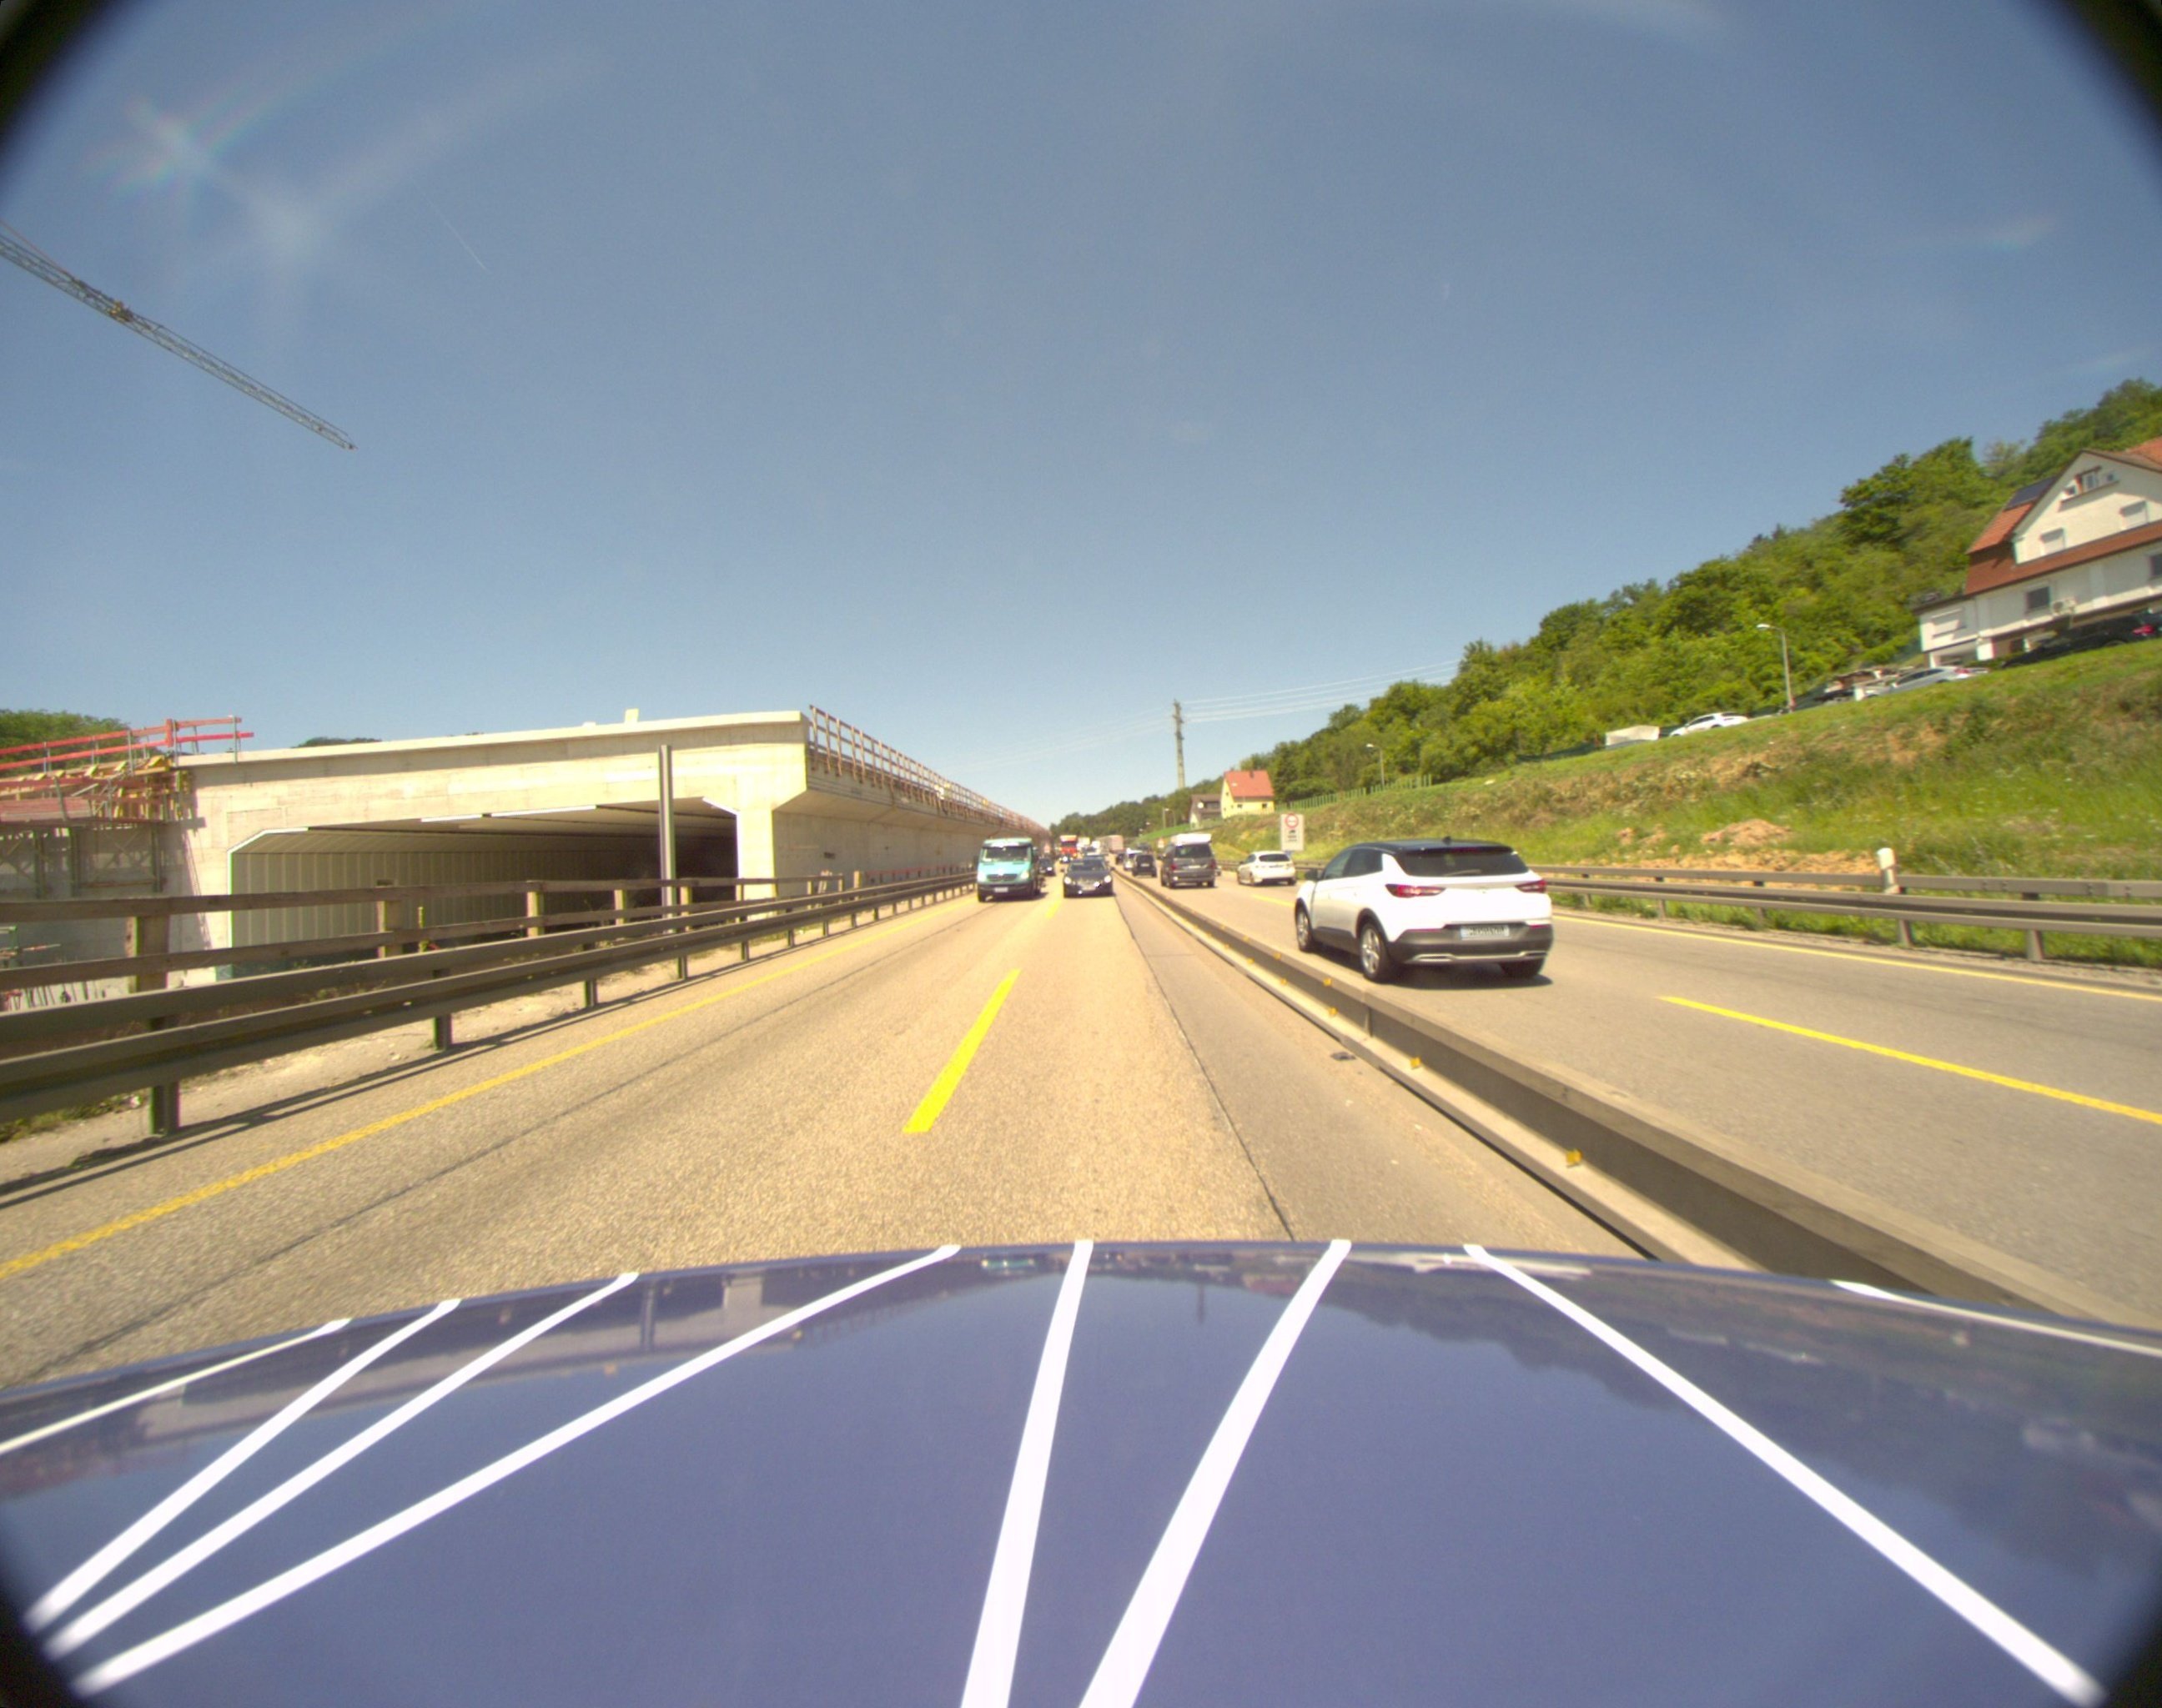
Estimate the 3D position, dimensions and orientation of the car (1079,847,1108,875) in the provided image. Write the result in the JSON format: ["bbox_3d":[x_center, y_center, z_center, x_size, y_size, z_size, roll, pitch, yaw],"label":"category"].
[{"bbox_3d":[0.938,0.443,53.832,1.884,1.805,4.250,-2,1,2],"label":"car"}]

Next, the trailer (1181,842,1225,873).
[{"bbox_3d":[8.058,0.230,50.504,2.106,1.883,5.141,-2,0,1],"label":"trailer"}]

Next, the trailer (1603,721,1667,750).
[{"bbox_3d":[37.441,-7.993,51.445,1.908,1.507,3.034,-2,2,-10],"label":"trailer"}]

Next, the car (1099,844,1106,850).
[{"bbox_3d":[5.271,-1.654,187.070,1.807,1.455,4.000,-2,1,1],"label":"car"}]

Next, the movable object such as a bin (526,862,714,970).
[{"bbox_3d":[-21.074,2.590,35.669,2.961,4.040,9.153,-2,1,0],"label":"movable object such as a bin"}]

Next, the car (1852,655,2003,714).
[{"bbox_3d":[39.665,-7.889,35.791,1.999,1.861,4.427,-2,1,-5],"label":"car"}]

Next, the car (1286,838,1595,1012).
[{"bbox_3d":[4.038,0.680,9.414,1.811,1.630,4.171,-2,0,0],"label":"car"}]

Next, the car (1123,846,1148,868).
[{"bbox_3d":[4.828,0.274,67.663,1.842,1.817,5.040,-2,0,0],"label":"car"}]

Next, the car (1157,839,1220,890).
[{"bbox_3d":[4.593,0.405,33.168,1.915,2.002,4.905,-2,0,-1],"label":"car"}]

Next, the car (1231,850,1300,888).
[{"bbox_3d":[7.767,0.568,32.416,1.814,1.423,4.555,-3,0,1],"label":"car"}]

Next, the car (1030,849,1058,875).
[{"bbox_3d":[-2.806,0.609,58.653,1.885,1.805,4.249,-2,1,0],"label":"car"}]

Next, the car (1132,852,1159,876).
[{"bbox_3d":[4.160,0.623,49.072,1.487,1.496,2.805,-2,0,1],"label":"car"}]

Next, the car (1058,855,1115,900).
[{"bbox_3d":[0.247,0.836,29.171,1.998,1.441,4.601,-2,1,1],"label":"car"}]

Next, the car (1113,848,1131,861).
[{"bbox_3d":[4.844,0.013,90.256,1.847,1.467,4.834,-2,0,0],"label":"car"}]

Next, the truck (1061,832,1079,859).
[{"bbox_3d":[-1.748,-1.467,124.892,2.750,4.222,9.093,-2,1,0],"label":"truck"}]

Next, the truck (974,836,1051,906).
[{"bbox_3d":[-2.513,0.501,29.910,2.139,2.344,7.431,-2,1,1],"label":"truck"}]

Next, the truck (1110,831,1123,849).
[{"bbox_3d":[8.674,-3.416,187.427,2.627,4.371,10.383,-2,1,1],"label":"truck"}]

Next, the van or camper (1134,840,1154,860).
[{"bbox_3d":[8.871,-0.571,107.538,2.145,2.558,6.564,-2,0,1],"label":"van or camper"}]

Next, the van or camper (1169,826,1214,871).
[{"bbox_3d":[8.079,-0.415,56.444,2.297,3.048,6.923,-2,0,1],"label":"van or camper"}]

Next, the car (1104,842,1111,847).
[{"bbox_3d":[8.410,-2.974,239.488,1.998,1.499,5.299,-2,1,1],"label":"car"}]

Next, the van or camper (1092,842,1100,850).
[{"bbox_3d":[5.198,-2.883,264.368,2.356,2.619,6.901,-2,1,1],"label":"van or camper"}]

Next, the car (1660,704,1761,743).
[{"bbox_3d":[38.197,-7.898,46.257,2.000,1.646,4.548,-2,1,-9],"label":"car"}]

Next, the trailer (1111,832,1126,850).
[{"bbox_3d":[8.696,-3.109,177.911,2.937,3.966,8.704,-2,1,-1],"label":"trailer"}]

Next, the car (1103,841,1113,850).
[{"bbox_3d":[5.866,-1.837,164.209,1.998,2.002,3.999,-2,1,0],"label":"car"}]

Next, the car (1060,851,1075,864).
[{"bbox_3d":[-1.775,0.449,104.070,1.883,1.532,4.280,-2,1,0],"label":"car"}]

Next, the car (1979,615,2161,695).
[{"bbox_3d":[40.345,-7.922,30.695,2.077,1.997,4.969,-2,1,-4],"label":"car"}]
